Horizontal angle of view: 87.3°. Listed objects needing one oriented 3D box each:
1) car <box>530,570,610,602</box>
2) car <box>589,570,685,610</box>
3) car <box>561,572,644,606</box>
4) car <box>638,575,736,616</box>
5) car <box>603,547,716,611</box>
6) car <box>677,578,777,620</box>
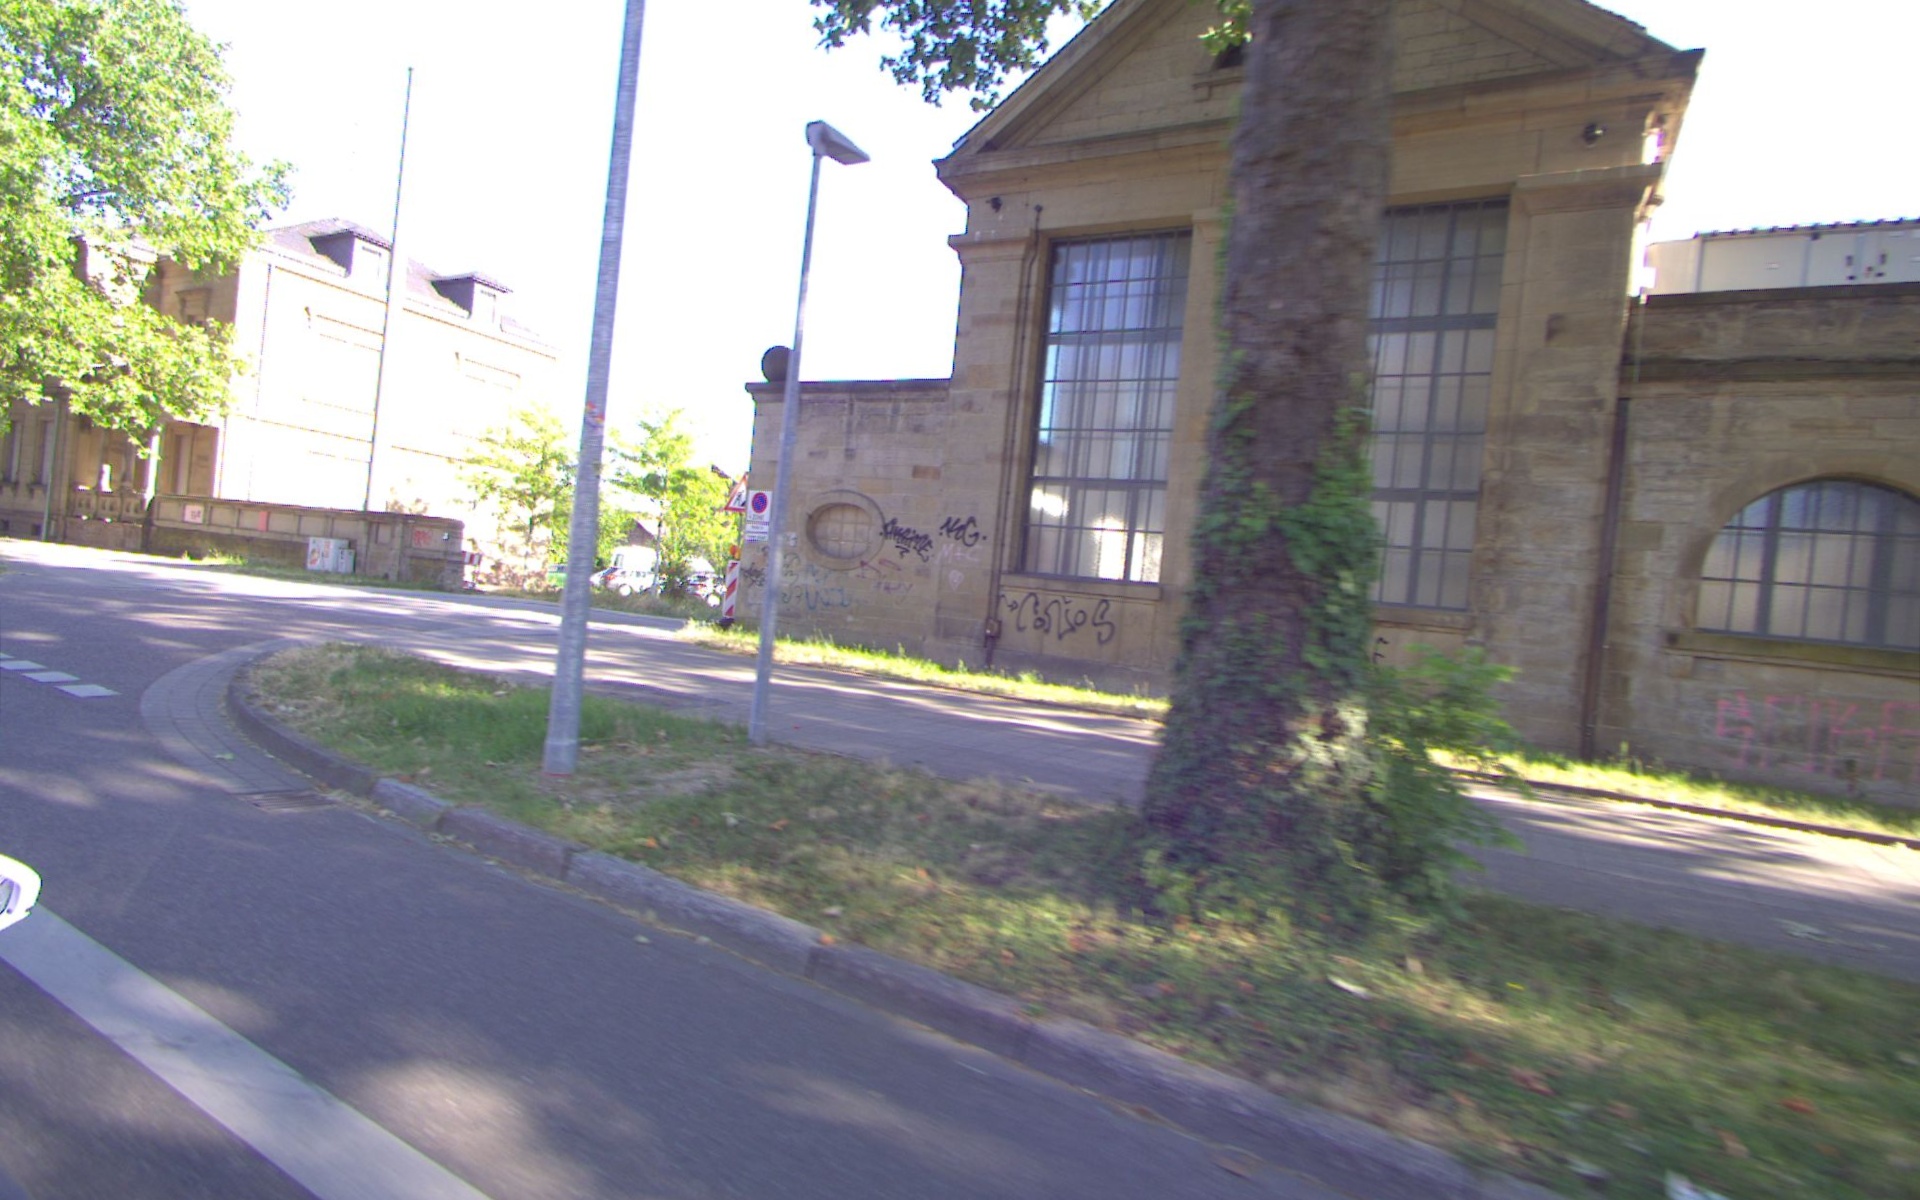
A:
[{"bbox_3d":[-23.562,-0.839,60.843,4.094,1.528,1.782,7,-2,-39],"label":"car"},{"bbox_3d":[-16.078,-0.476,50.196,4.094,1.528,1.782,7,-2,-39],"label":"car"},{"bbox_3d":[-20.615,-0.632,58.075,4.094,1.528,1.782,7,-2,-39],"label":"car"},{"bbox_3d":[-13.179,-0.220,48.648,4.094,1.528,1.782,7,-2,-39],"label":"car"},{"bbox_3d":[-16.075,-1.073,53.960,5.316,2.840,1.782,7,-1,-39],"label":"car"},{"bbox_3d":[-10.834,-0.035,46.928,4.094,1.528,1.782,7,-2,-39],"label":"car"}]
